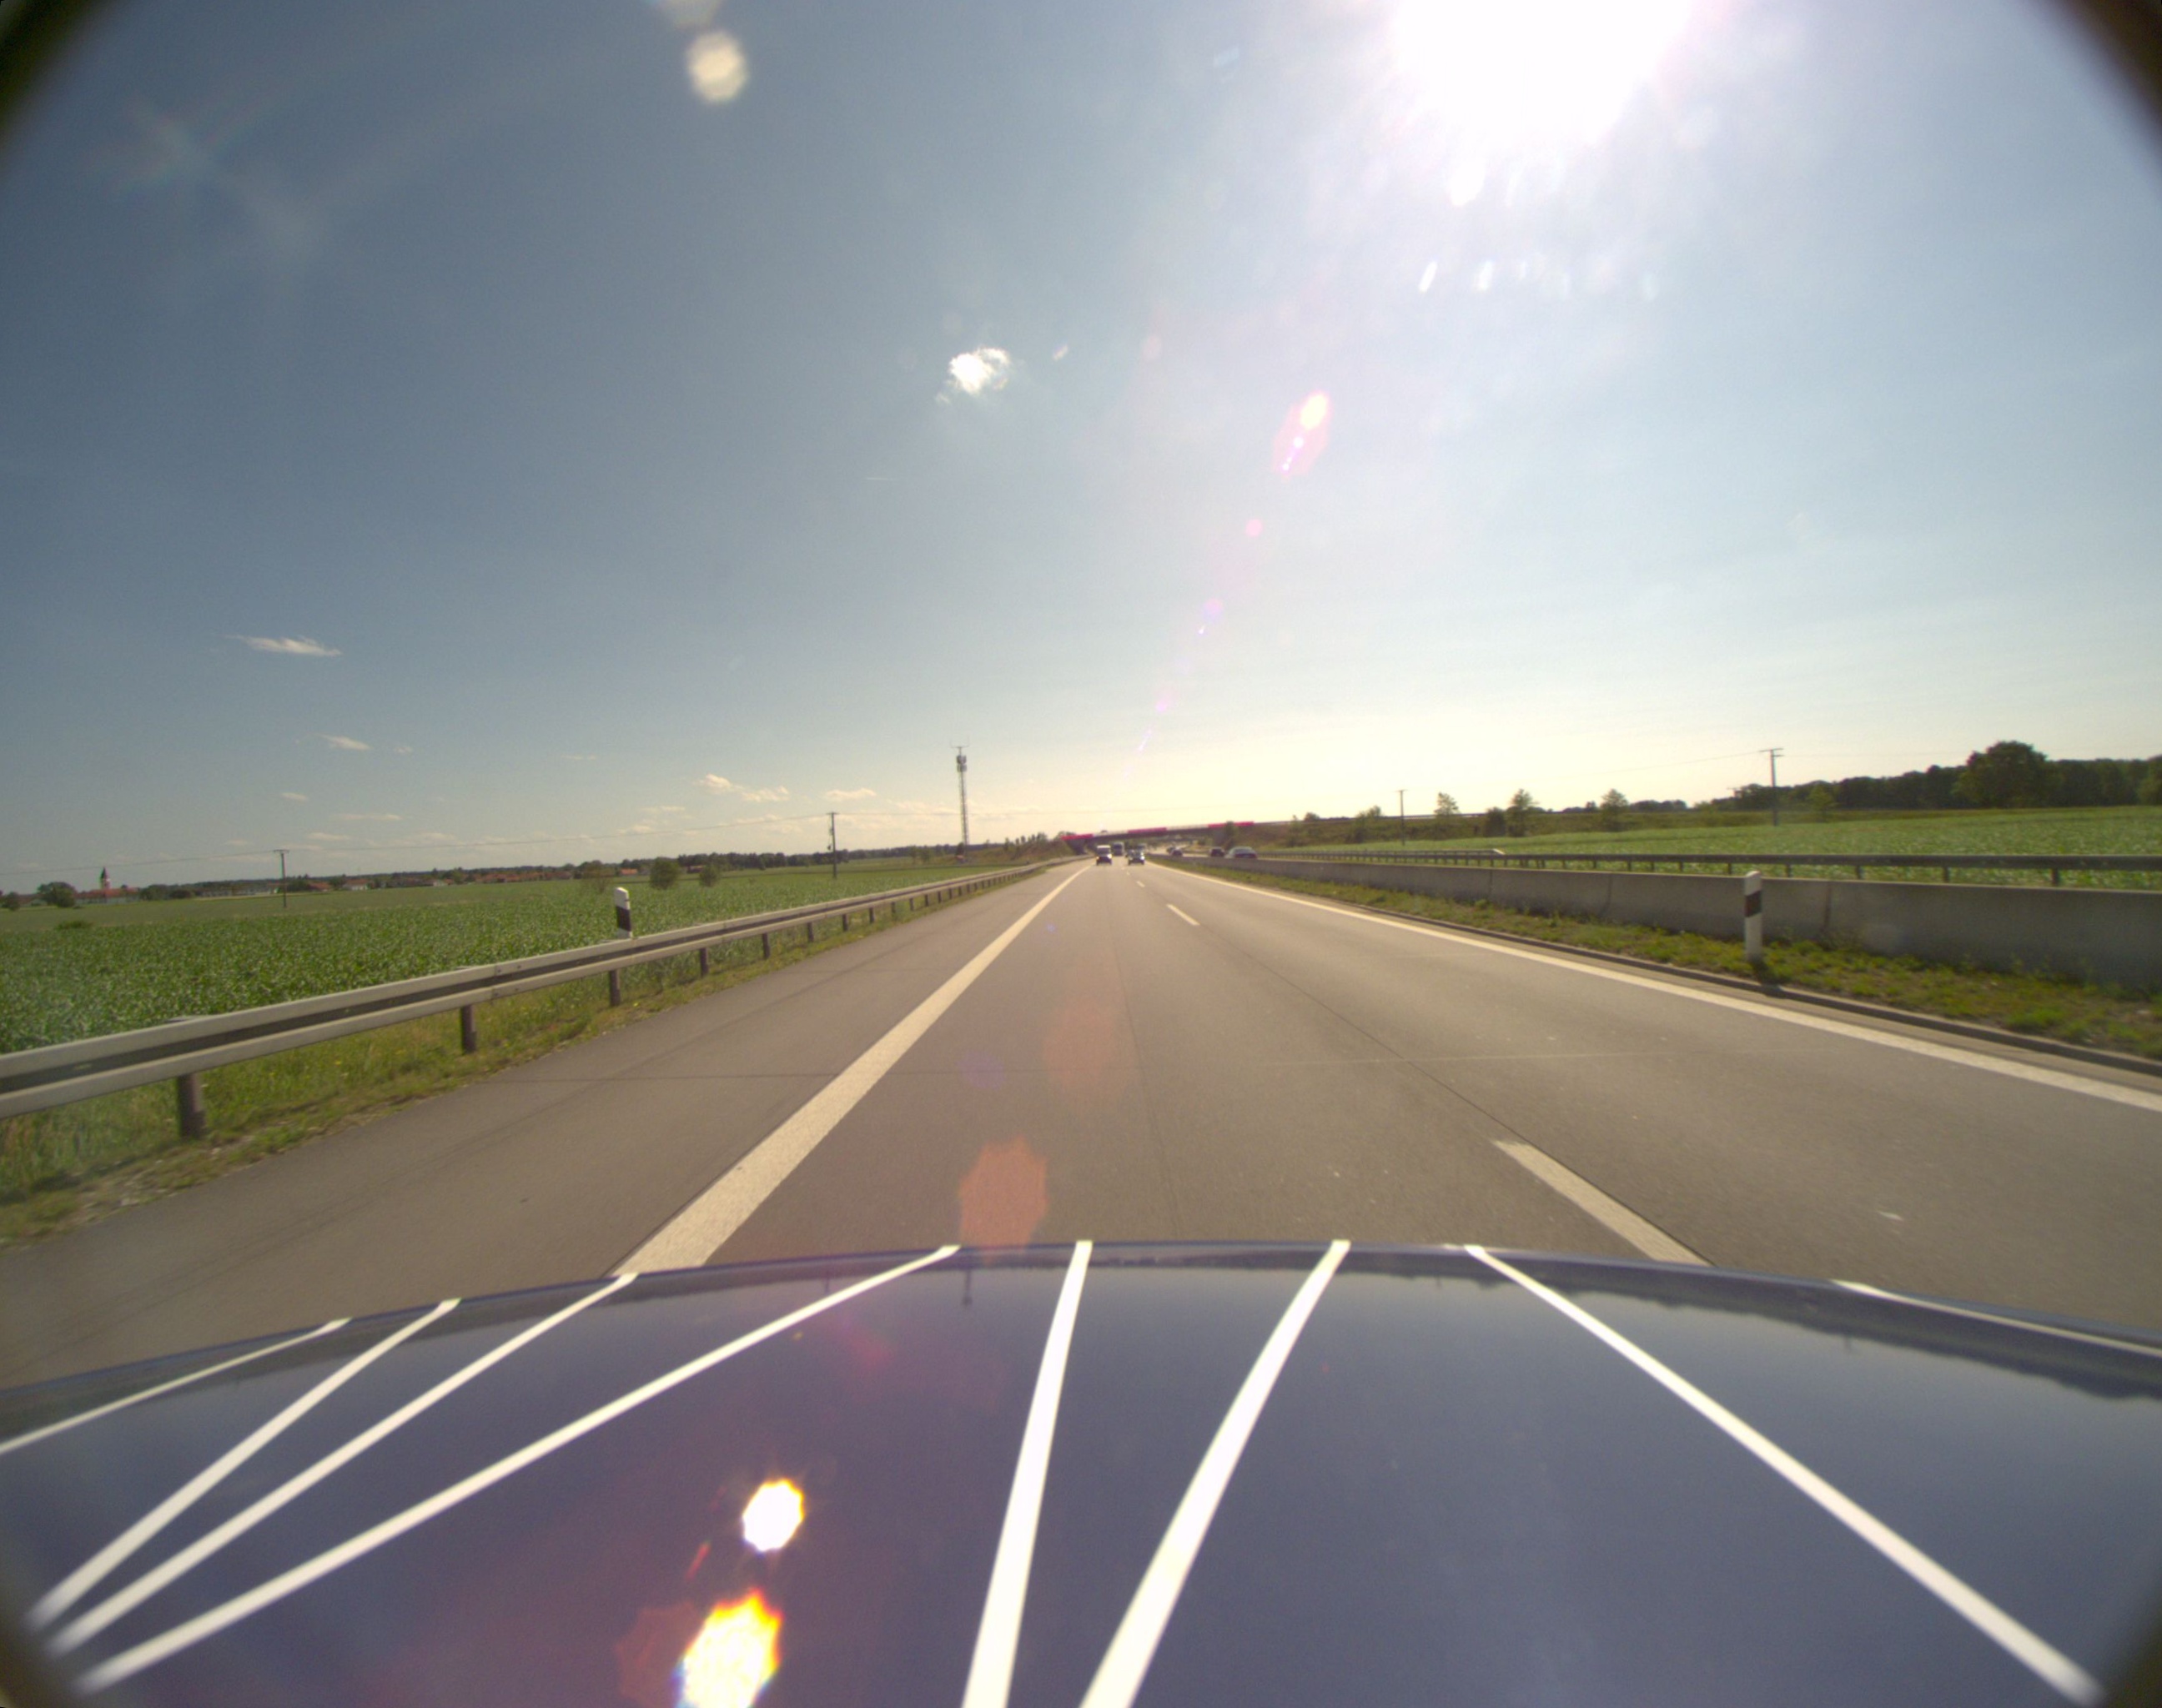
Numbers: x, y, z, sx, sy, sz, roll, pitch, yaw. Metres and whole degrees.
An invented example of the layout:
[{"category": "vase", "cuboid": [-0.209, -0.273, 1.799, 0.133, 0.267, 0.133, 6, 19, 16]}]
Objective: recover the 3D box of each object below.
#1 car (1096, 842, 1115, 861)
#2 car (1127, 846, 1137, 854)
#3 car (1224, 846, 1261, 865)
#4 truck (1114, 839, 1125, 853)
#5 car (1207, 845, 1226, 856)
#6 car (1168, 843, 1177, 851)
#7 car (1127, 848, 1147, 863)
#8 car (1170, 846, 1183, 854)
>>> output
[{"category": "car", "cuboid": [3.087, -0.286, 94.066, 2.030, 2.225, 4.819, -2, 1, 4]}, {"category": "car", "cuboid": [11.225, -0.911, 167.217, 2.030, 1.600, 4.820, -3, -1, 4]}, {"category": "car", "cuboid": [12.244, 0.128, 57.795, 1.827, 1.357, 4.660, -1, 0, 0]}, {"category": "truck", "cuboid": [11.033, -2.227, 216.998, 2.762, 3.793, 7.517, -3, 1, 2]}, {"category": "car", "cuboid": [17.620, -0.487, 98.803, 1.827, 1.357, 4.664, -1, 0, 2]}, {"category": "car", "cuboid": [26.582, -2.052, 220.924, 1.998, 2.002, 5.614, -2, 1, 3]}, {"category": "car", "cuboid": [6.431, 0.159, 87.819, 2.030, 1.600, 4.818, -2, 1, 1]}, {"category": "car", "cuboid": [15.953, -0.631, 126.627, 1.827, 1.357, 5.198, -1, 0, 4]}]
